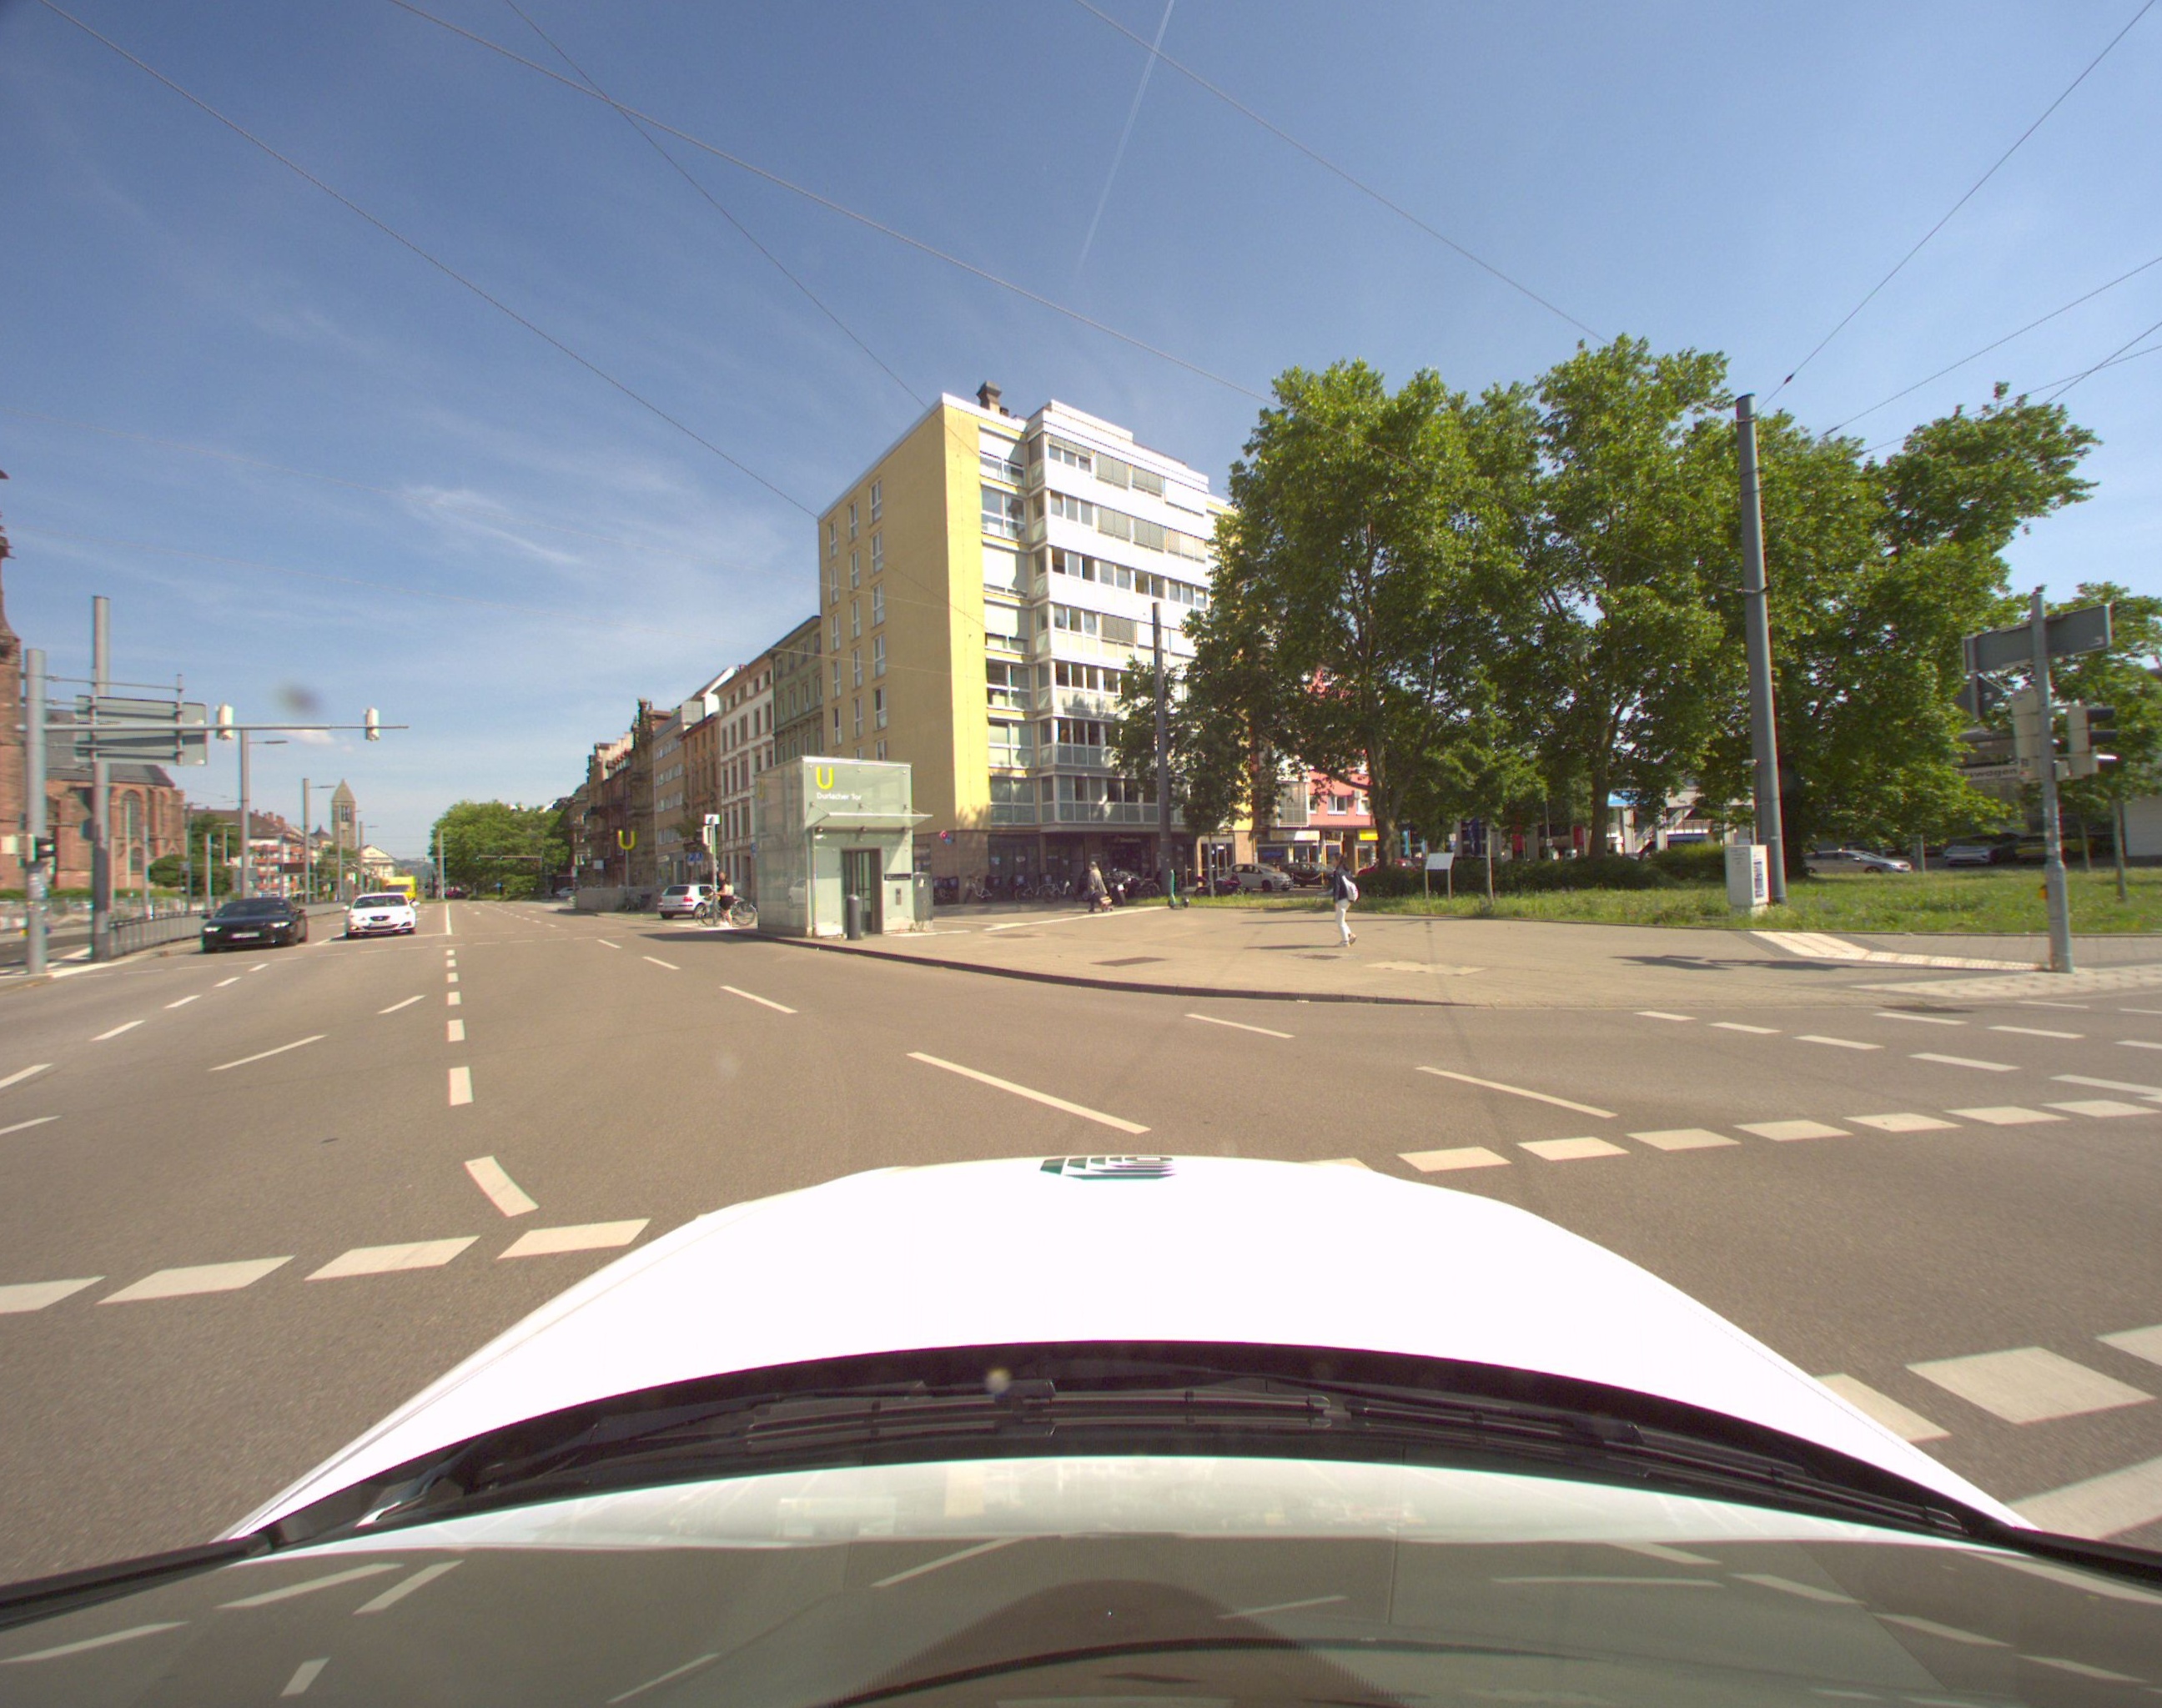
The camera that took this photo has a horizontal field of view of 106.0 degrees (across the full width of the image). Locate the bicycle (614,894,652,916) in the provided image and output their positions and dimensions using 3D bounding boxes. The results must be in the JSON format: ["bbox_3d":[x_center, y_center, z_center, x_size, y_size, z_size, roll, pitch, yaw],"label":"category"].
[{"bbox_3d":[-24.751,2.783,44.980,1.756,1.094,0.590,-1,-1,-39],"label":"bicycle"}]

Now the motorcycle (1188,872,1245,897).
[{"bbox_3d":[5.035,1.139,30.289,2.018,0.842,0.643,-3,-1,12],"label":"motorcycle"}]

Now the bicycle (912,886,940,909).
[{"bbox_3d":[-7.149,2.005,37.500,0.586,0.965,1.738,-2,-1,-33],"label":"bicycle"}]

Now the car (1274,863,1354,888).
[{"bbox_3d":[12.879,1.162,45.188,1.752,1.270,3.955,-1,1,-38],"label":"car"}]

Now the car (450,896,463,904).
[{"bbox_3d":[-129.259,9.517,168.653,1.915,1.376,3.770,-1,-2,-41],"label":"car"}]

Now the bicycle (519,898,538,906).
[{"bbox_3d":[-68.568,5.998,101.082,0.477,0.863,1.836,-1,0,37],"label":"bicycle"}]

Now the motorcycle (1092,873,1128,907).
[{"bbox_3d":[0.955,1.173,27.256,0.639,1.062,2.029,-2,-1,-13],"label":"motorcycle"}]

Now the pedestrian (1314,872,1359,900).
[{"bbox_3d":[8.736,1.091,27.888,0.827,0.892,1.162,-2,-1,-40],"label":"pedestrian"}]

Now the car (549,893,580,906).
[{"bbox_3d":[-80.160,7.044,126.422,4.018,1.750,1.978,-1,1,-37],"label":"car"}]

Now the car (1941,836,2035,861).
[{"bbox_3d":[50.046,-0.326,44.964,3.996,1.244,1.989,-1,1,-17],"label":"car"}]

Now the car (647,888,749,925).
[{"bbox_3d":[-16.098,2.179,34.455,1.795,1.440,4.013,-2,-3,13],"label":"car"}]

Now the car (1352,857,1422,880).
[{"bbox_3d":[18.935,0.883,50.500,1.752,1.340,3.693,-1,1,-38],"label":"car"}]

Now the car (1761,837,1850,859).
[{"bbox_3d":[47.760,-0.371,53.767,2.001,1.371,3.971,-1,1,-21],"label":"car"}]

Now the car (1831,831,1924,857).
[{"bbox_3d":[53.482,-0.638,54.777,2.002,1.508,3.969,-2,-1,-23],"label":"car"}]

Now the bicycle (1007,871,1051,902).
[{"bbox_3d":[-2.241,1.390,35.287,1.761,1.219,0.578,-3,-1,-28],"label":"bicycle"}]

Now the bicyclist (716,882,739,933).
[{"bbox_3d":[-11.217,1.696,25.853,0.613,1.572,0.728,-1,-2,-21],"label":"bicyclist"}]

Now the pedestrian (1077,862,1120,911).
[{"bbox_3d":[0.512,0.983,24.574,0.660,1.404,1.104,-2,-1,-42],"label":"pedestrian"}]

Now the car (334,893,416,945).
[{"bbox_3d":[-23.273,2.083,26.969,1.769,1.398,4.077,-6,2,-38],"label":"car"}]

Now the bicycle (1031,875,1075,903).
[{"bbox_3d":[-1.191,1.477,34.508,1.761,1.086,0.578,-3,-1,-28],"label":"bicycle"}]

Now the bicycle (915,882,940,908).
[{"bbox_3d":[-6.804,1.809,36.065,0.585,1.085,1.741,-5,0,-26],"label":"bicycle"}]

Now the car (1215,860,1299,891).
[{"bbox_3d":[9.151,1.082,42.578,1.900,1.440,3.955,-1,1,-38],"label":"car"}]

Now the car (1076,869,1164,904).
[{"bbox_3d":[1.651,1.448,35.856,1.667,1.471,4.046,2,-4,-37],"label":"car"}]

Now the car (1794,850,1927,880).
[{"bbox_3d":[39.935,0.512,41.866,1.971,1.436,4.573,-1,1,-17],"label":"car"}]

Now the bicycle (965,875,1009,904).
[{"bbox_3d":[-4.200,1.588,36.488,1.898,1.186,0.535,-2,-1,-37],"label":"bicycle"}]

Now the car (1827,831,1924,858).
[{"bbox_3d":[51.384,-0.586,52.759,2.002,1.552,3.969,-2,-1,-23],"label":"car"}]

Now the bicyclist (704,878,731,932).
[{"bbox_3d":[-12.039,1.679,26.986,0.621,1.735,0.577,0,-3,-45],"label":"bicyclist"}]

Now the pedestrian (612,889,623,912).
[{"bbox_3d":[-33.507,3.344,58.857,0.557,1.665,0.519,-1,-2,-38],"label":"pedestrian"}]

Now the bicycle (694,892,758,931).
[{"bbox_3d":[-11.245,1.820,25.862,1.797,1.130,0.749,-1,-2,-21],"label":"bicycle"}]

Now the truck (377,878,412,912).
[{"bbox_3d":[-74.063,4.431,87.952,2.564,3.298,8.923,-4,0,-39],"label":"truck"}]

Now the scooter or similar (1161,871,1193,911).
[{"bbox_3d":[2.827,1.079,24.095,0.516,1.119,1.359,-2,-1,-11],"label":"scooter or similar"}]

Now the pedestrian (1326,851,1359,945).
[{"bbox_3d":[4.563,0.748,14.199,0.448,1.605,0.403,-1,0,33],"label":"pedestrian"}]

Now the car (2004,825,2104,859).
[{"bbox_3d":[51.231,-0.618,42.909,3.996,1.684,1.989,-1,1,-17],"label":"car"}]

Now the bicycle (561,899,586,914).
[{"bbox_3d":[-37.257,3.828,59.804,1.473,0.976,0.411,-1,1,-39],"label":"bicycle"}]

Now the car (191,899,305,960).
[{"bbox_3d":[-24.226,2.128,23.849,1.769,1.456,4.372,-2,-1,-39],"label":"car"}]

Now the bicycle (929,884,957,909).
[{"bbox_3d":[-6.134,1.896,36.197,0.586,1.043,1.739,-2,-1,-31],"label":"bicycle"}]

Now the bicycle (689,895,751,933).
[{"bbox_3d":[-12.022,1.986,27.155,1.807,1.130,0.577,0,-3,-45],"label":"bicycle"}]
